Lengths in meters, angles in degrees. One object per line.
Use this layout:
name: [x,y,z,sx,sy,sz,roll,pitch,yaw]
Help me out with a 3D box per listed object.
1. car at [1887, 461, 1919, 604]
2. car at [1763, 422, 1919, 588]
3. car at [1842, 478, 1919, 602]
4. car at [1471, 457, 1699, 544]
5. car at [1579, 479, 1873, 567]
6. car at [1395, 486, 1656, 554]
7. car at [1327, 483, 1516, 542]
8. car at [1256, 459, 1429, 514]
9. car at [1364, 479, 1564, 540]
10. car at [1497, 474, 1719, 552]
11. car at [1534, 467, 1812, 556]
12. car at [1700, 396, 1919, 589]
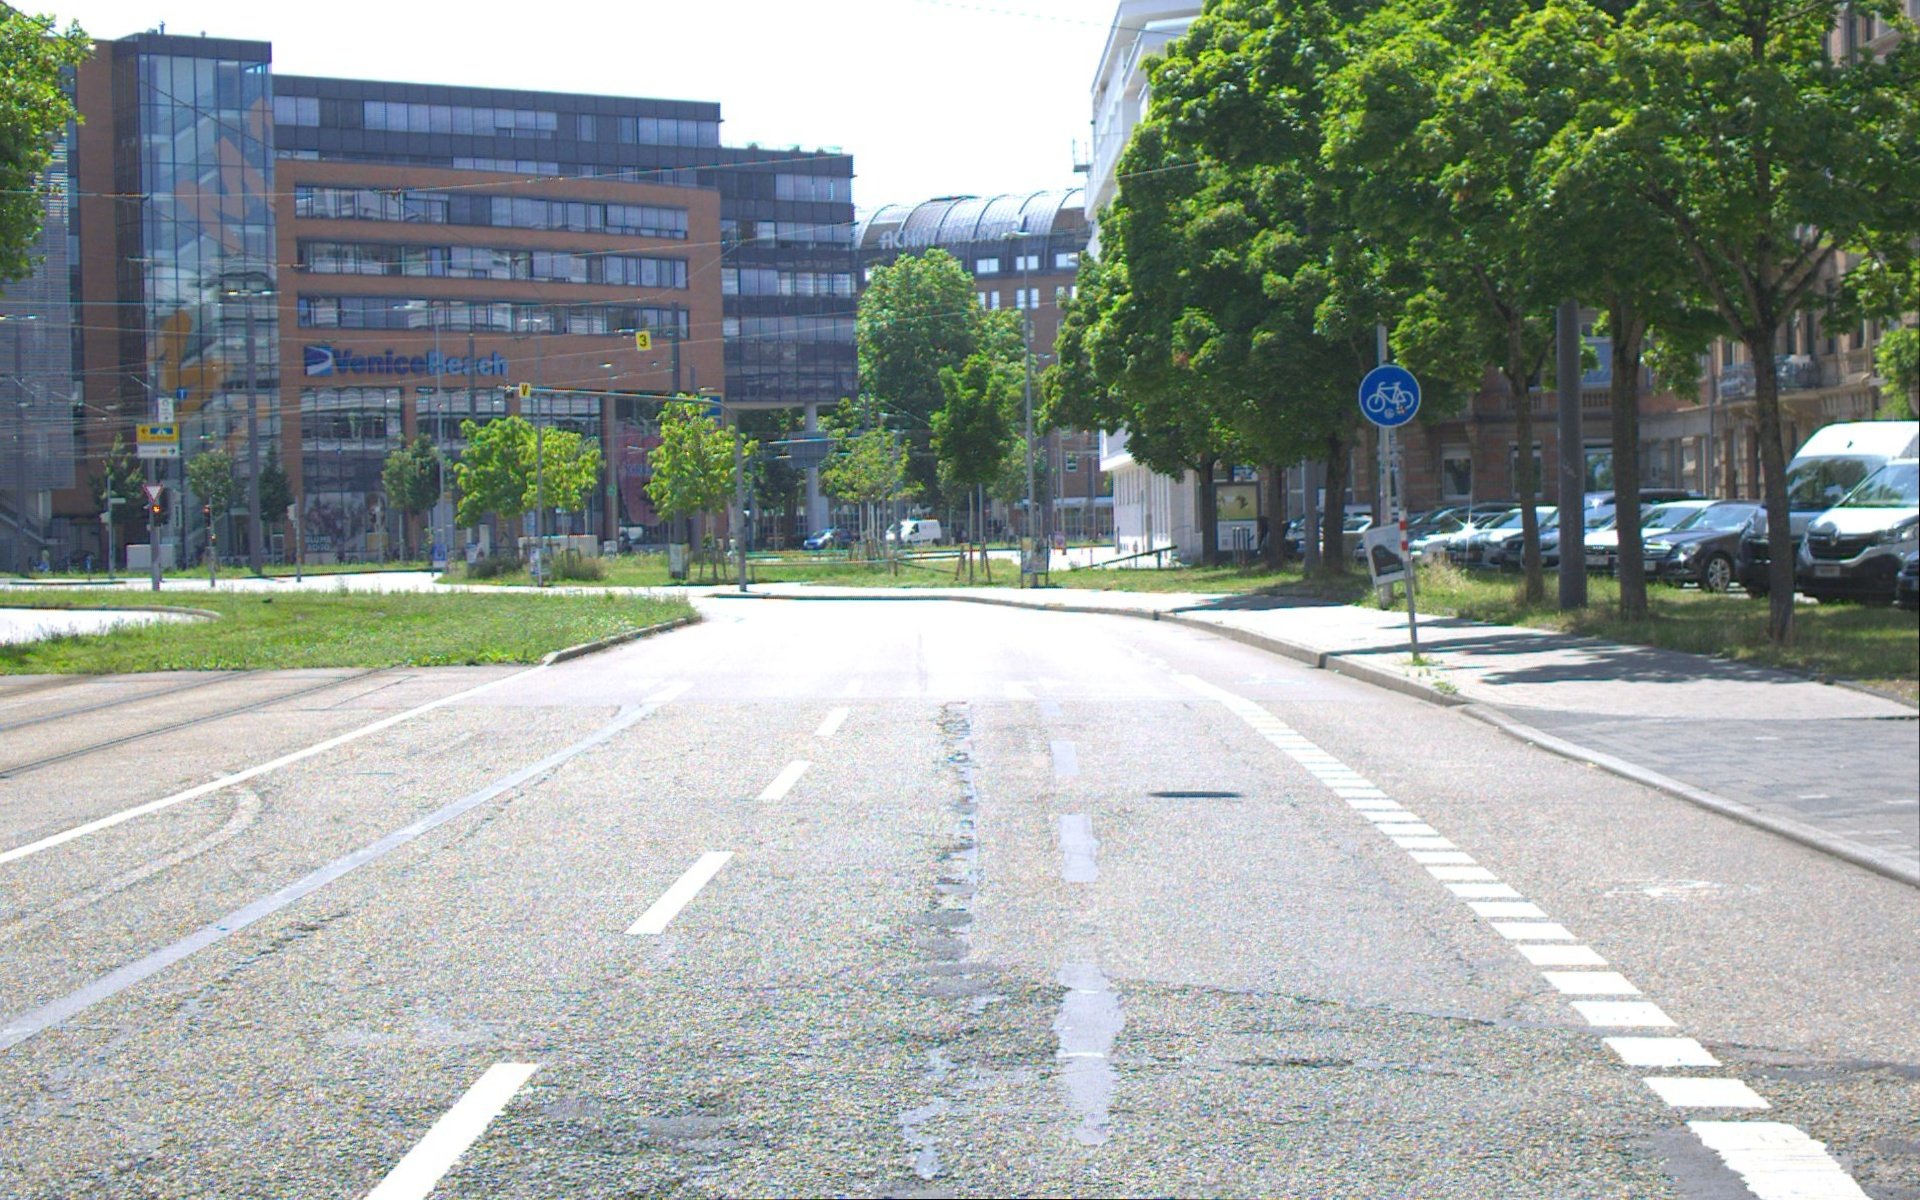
car: [12.284,-0.724,36.300,4.617,1.491,1.966,-1,2,-24]
car: [12.557,-1.203,42.815,4.832,1.966,2.077,-1,2,-29]
car: [12.321,-0.711,39.377,3.986,1.382,1.824,-1,2,-21]
car: [12.208,-1.962,67.139,3.986,1.656,1.973,-1,2,-26]
car: [12.076,-1.237,54.121,4.417,1.334,1.972,-1,2,-32]
car: [11.397,-1.627,69.314,4.771,1.309,2.150,-1,2,-22]
car: [11.086,-2.111,82.546,4.333,1.371,1.583,-1,2,-26]
car: [11.254,-3.350,101.048,4.858,1.595,1.836,-1,2,-27]
car: [11.279,-2.037,76.952,3.986,1.309,1.973,-1,2,-22]
car: [12.084,-1.637,64.052,3.987,1.395,1.712,-1,2,-32]
car: [11.966,-1.501,57.582,4.678,1.422,1.972,-2,2,-37]
car: [12.682,-1.456,46.297,5.535,2.452,2.238,-2,2,-37]
